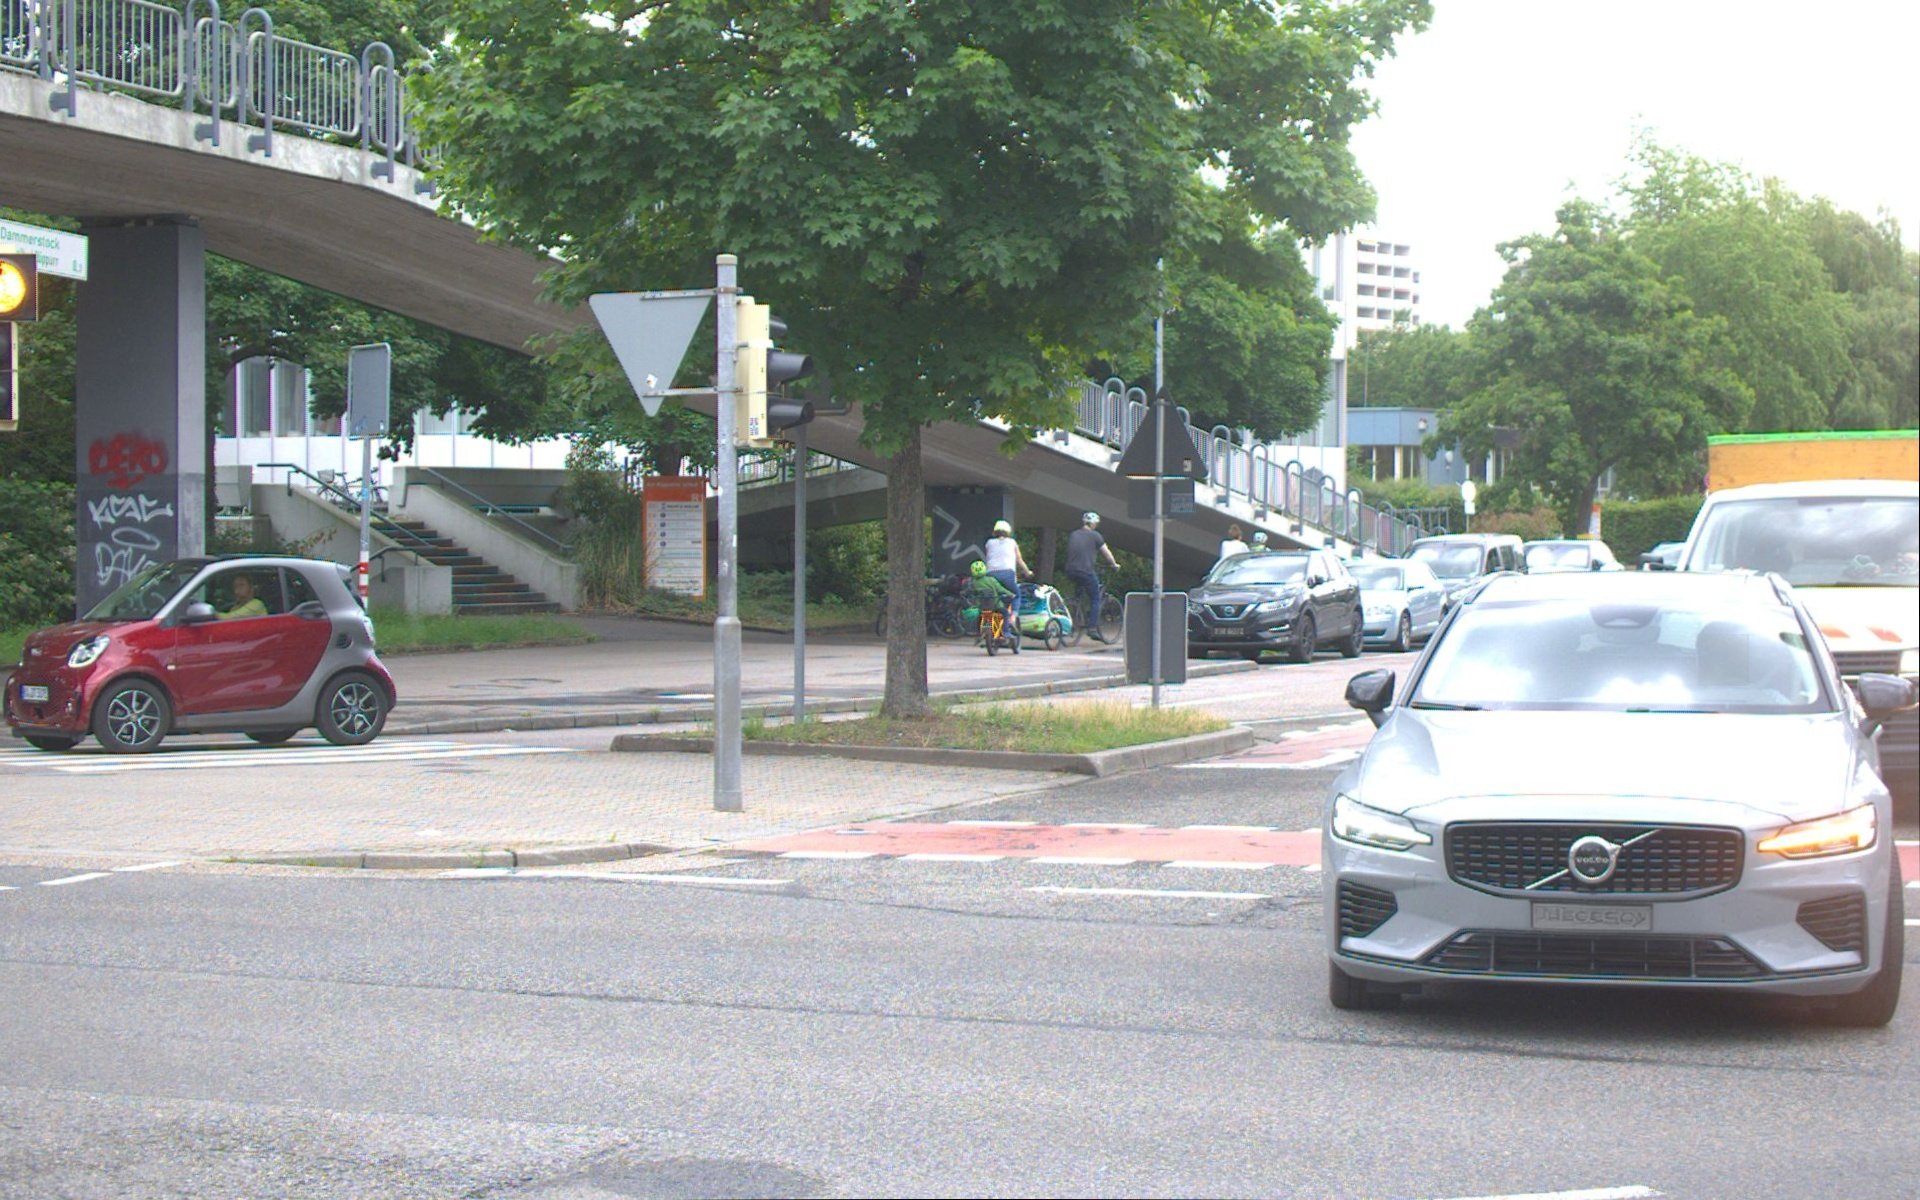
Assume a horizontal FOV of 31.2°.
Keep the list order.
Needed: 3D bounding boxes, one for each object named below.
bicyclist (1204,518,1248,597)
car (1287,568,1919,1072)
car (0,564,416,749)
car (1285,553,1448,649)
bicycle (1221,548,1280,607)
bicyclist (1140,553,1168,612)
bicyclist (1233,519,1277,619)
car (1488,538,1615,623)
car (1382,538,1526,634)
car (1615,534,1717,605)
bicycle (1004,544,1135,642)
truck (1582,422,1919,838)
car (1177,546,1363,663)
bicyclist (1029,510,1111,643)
[{"bbox_3d":[4.134,-0.663,53.497,0.405,1.177,0.377,11,6,21],"label":"bicyclist"},{"bbox_3d":[2.534,0.632,12.757,1.898,1.415,4.733,1,1,15],"label":"car"},{"bbox_3d":[-5.998,0.405,27.202,2.963,1.341,1.563,-1,2,-39],"label":"car"},{"bbox_3d":[6.467,-0.013,54.364,1.673,1.382,3.891,1,2,20],"label":"car"},{"bbox_3d":[4.828,-0.386,57.019,0.527,0.946,1.707,1,1,21],"label":"bicycle"},{"bbox_3d":[4.032,-0.368,71.401,0.431,1.213,0.567,1,-1,19],"label":"bicyclist"},{"bbox_3d":[4.893,-0.515,57.036,0.565,1.639,0.531,1,1,23],"label":"bicyclist"},{"bbox_3d":[11.370,-0.401,65.933,1.673,1.546,3.996,1,2,20],"label":"car"},{"bbox_3d":[8.545,-0.274,59.267,1.673,1.546,3.758,1,2,20],"label":"car"},{"bbox_3d":[16.061,-0.712,78.130,1.673,1.546,3.996,1,2,20],"label":"car"},{"bbox_3d":[1.620,-0.123,50.203,0.857,1.310,3.226,1,2,22],"label":"bicycle"},{"bbox_3d":[5.493,0.092,21.170,2.158,2.191,5.834,1,2,21],"label":"truck"},{"bbox_3d":[4.484,0.033,49.244,1.673,1.546,3.888,1,2,20],"label":"car"},{"bbox_3d":[1.608,-0.356,50.202,0.857,1.886,1.126,1,2,22],"label":"bicyclist"}]
